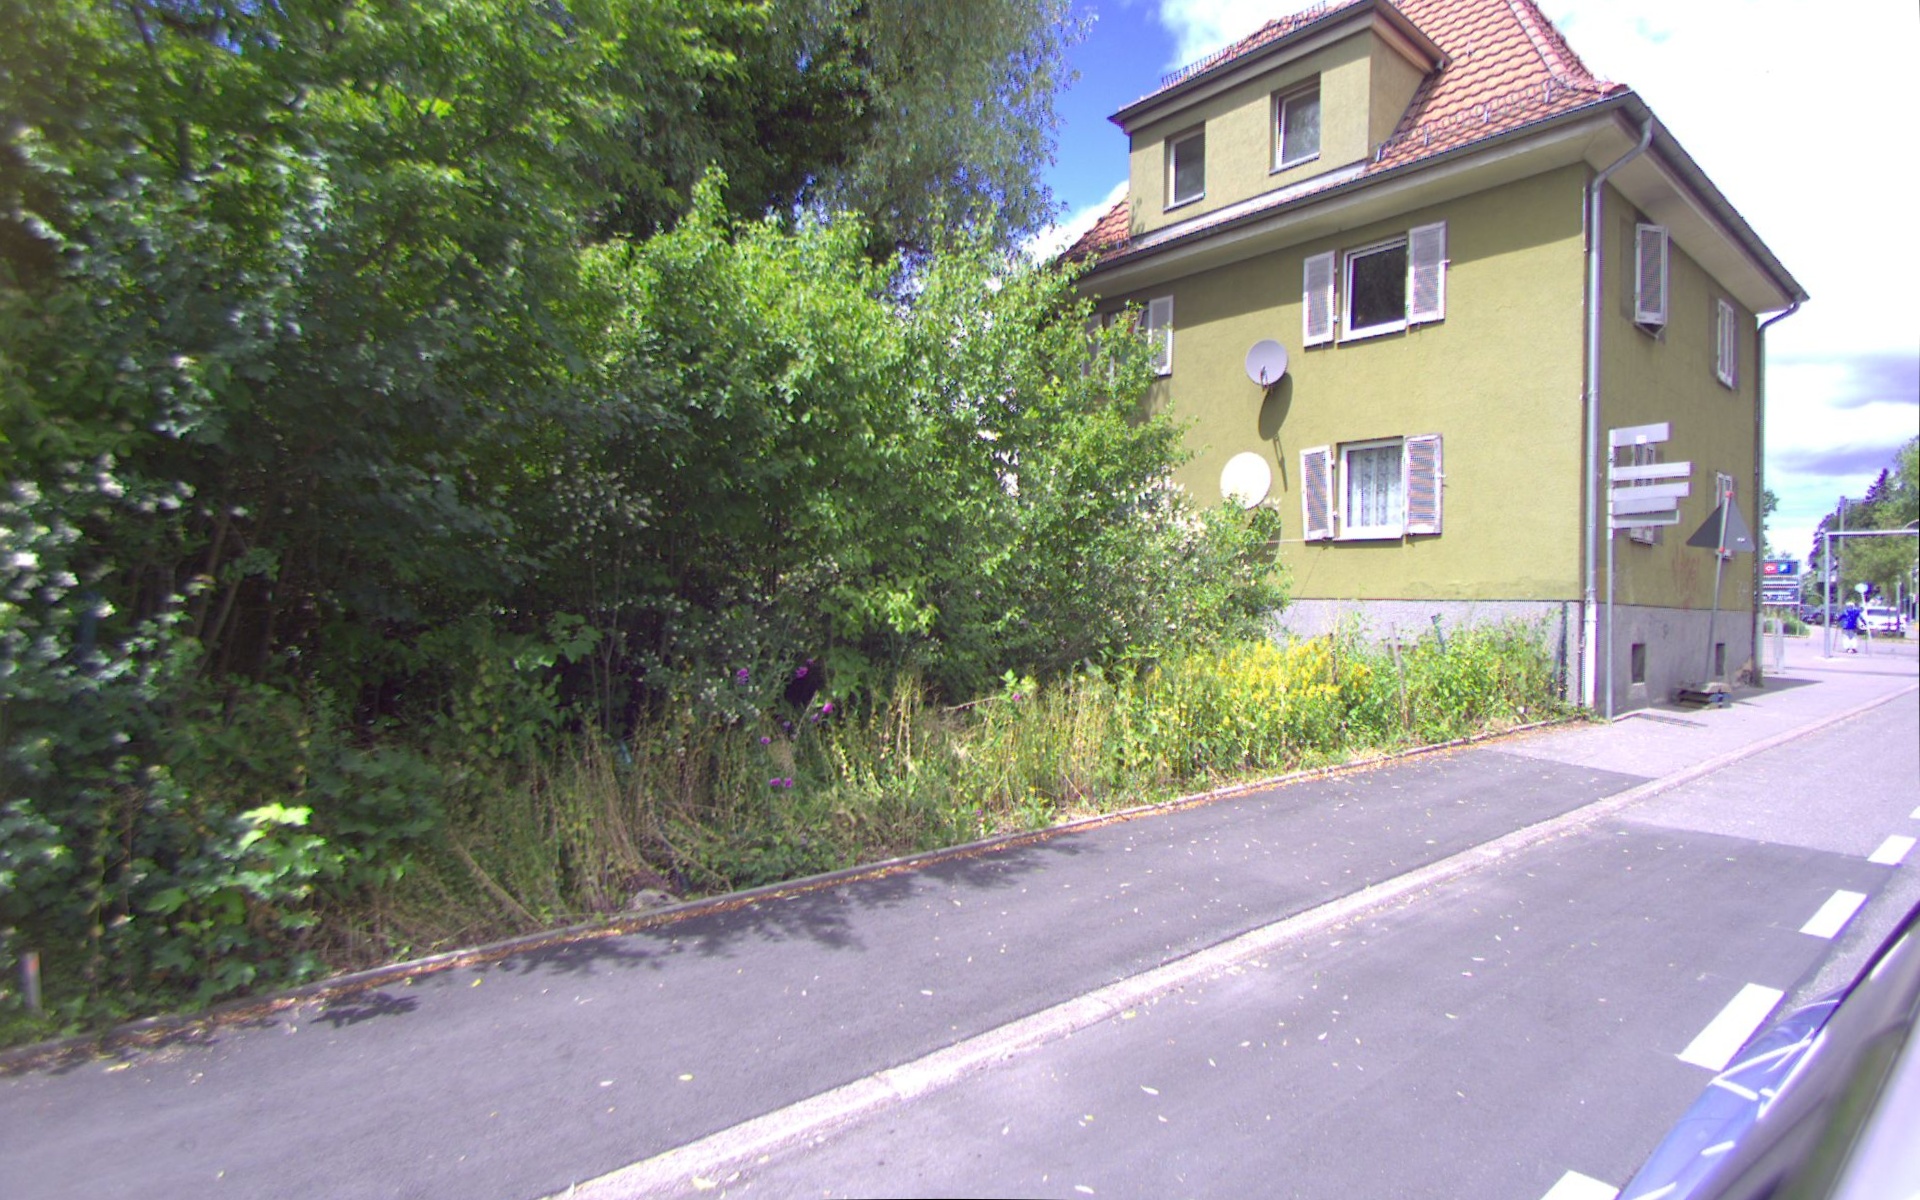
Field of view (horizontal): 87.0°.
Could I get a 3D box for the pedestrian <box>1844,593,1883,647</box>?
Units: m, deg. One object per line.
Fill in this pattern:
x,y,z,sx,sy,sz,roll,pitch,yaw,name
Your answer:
27.683,0.607,30.998,0.824,1.592,0.972,2,1,45,pedestrian

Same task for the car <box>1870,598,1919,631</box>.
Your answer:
47.510,0.701,51.357,1.788,1.549,3.864,4,2,40,car

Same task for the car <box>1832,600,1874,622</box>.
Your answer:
64.964,0.776,73.679,1.694,1.551,3.951,-1,-1,34,car
